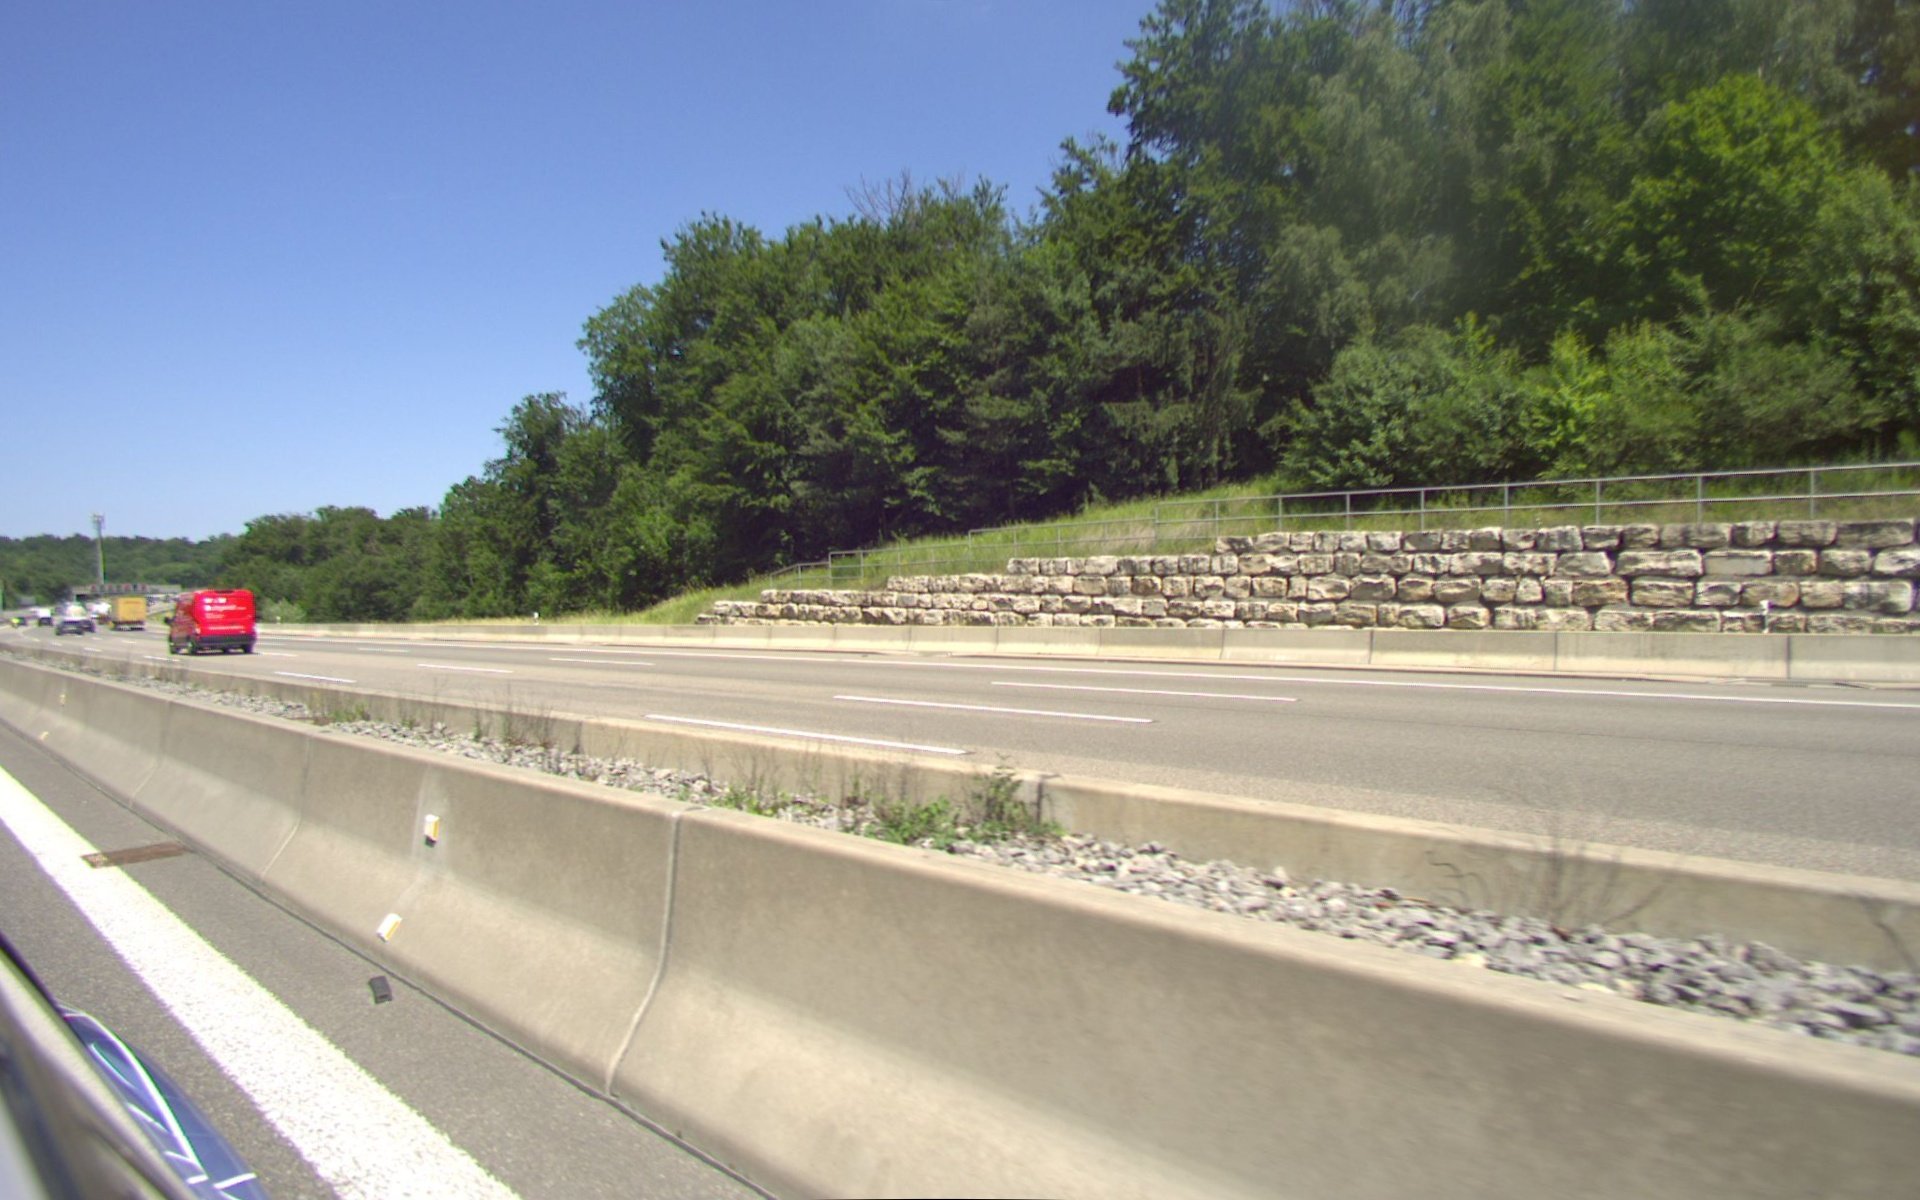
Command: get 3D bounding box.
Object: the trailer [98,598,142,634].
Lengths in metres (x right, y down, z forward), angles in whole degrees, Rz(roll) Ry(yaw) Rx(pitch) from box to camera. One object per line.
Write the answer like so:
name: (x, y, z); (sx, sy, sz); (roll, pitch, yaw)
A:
trailer: (-101.089, 1.942, 121.646); (13.730, 4.035, 2.692); (-1, -1, 45)

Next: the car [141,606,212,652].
car: (-42.409, 1.546, 54.722); (5.801, 2.304, 1.972); (-2, 0, 42)

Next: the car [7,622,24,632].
car: (-155.055, 4.422, 166.200); (1.970, 1.718, 4.957); (0, -1, -44)

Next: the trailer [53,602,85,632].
trailer: (-124.217, 2.371, 141.040); (11.699, 3.910, 2.510); (-1, -1, 44)

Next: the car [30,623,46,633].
car: (-147.027, 4.454, 161.378); (1.700, 1.656, 4.062); (0, -1, -44)

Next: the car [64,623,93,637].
car: (-94.957, 3.233, 108.986); (4.581, 1.494, 1.971); (-1, -1, 44)

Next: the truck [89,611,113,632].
truck: (-153.770, 3.775, 181.206); (2.579, 3.492, 9.889); (-2, 1, -44)

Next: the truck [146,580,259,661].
truck: (-30.370, 0.829, 40.474); (7.009, 2.999, 2.089); (-2, -1, 40)

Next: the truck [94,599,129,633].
truck: (-105.926, 2.018, 126.364); (6.754, 4.048, 2.719); (-1, -1, 44)

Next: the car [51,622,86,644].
car: (-82.943, 3.034, 94.137); (5.253, 1.885, 1.971); (0, 1, 44)

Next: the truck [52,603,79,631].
truck: (-127.603, 2.417, 144.347); (6.804, 3.970, 2.502); (-1, -1, 44)
